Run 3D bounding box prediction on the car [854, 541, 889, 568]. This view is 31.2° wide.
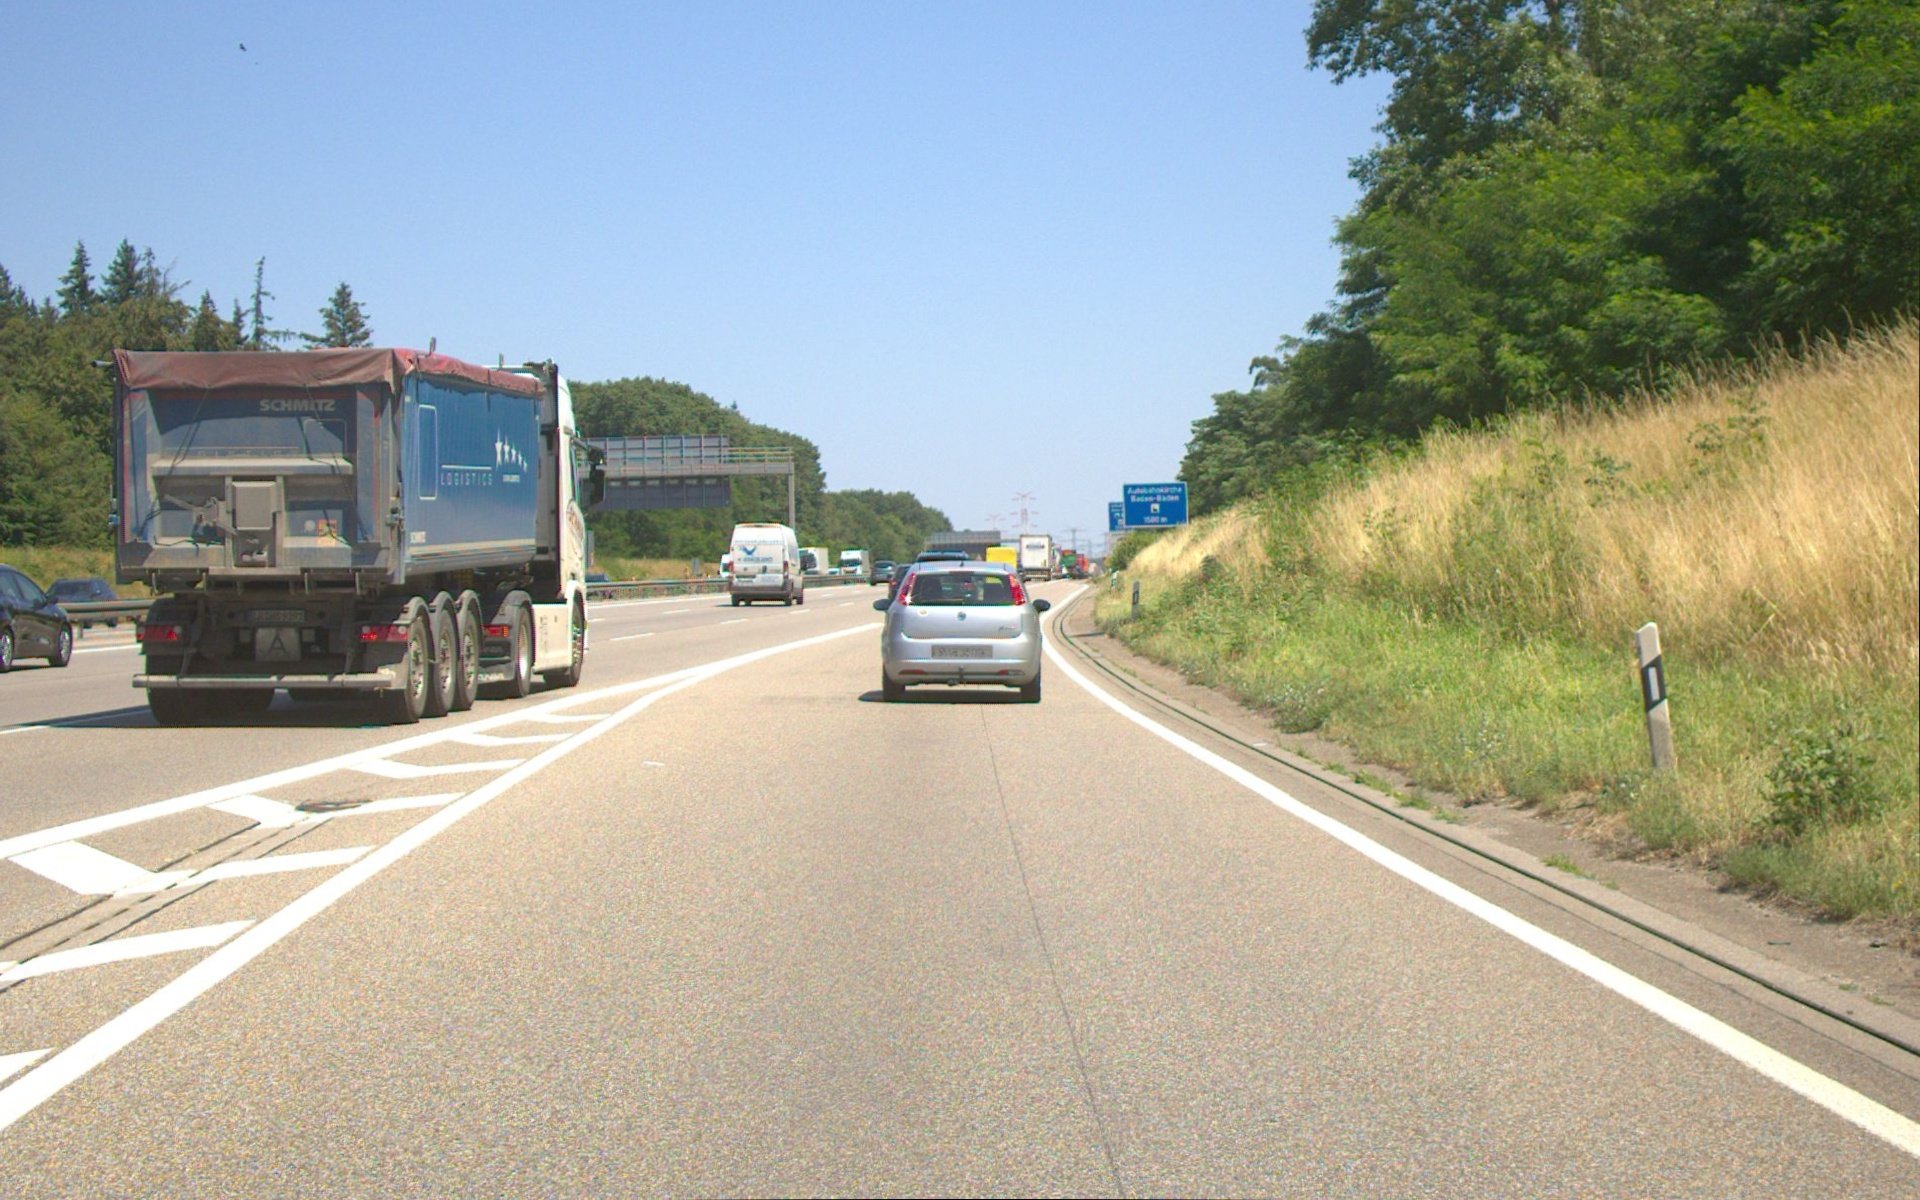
[{"bbox_3d":[-5.981,-3.081,232.047,2.157,1.808,4.860,0,1,1],"label":"car"}]

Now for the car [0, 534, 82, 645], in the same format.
[{"bbox_3d":[-13.539,-0.156,46.997,1.703,1.469,4.596,-1,1,3],"label":"car"}]

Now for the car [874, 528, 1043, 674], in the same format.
[{"bbox_3d":[0.006,-0.030,36.848,1.719,1.486,3.737,0,1,1],"label":"car"}]

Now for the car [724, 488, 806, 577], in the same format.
[{"bbox_3d":[-6.634,-2.289,117.548,2.260,2.940,6.113,0,1,2],"label":"car"}]

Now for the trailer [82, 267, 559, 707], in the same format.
[{"bbox_3d":[-6.022,-1.045,34.070,2.737,3.746,9.109,-1,1,2],"label":"trailer"}]

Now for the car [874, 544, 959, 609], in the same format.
[{"bbox_3d":[-1.124,-0.617,90.806,1.832,1.666,3.999,1,0,5],"label":"car"}]

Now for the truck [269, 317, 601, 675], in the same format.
[{"bbox_3d":[-5.847,-1.148,39.225,2.684,3.746,5.944,-1,1,2],"label":"truck"}]

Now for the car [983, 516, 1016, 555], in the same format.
[{"bbox_3d":[2.051,-3.331,178.775,1.611,2.007,4.000,0,1,2],"label":"car"}]

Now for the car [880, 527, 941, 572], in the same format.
[{"bbox_3d":[-1.625,-1.680,114.355,1.894,1.464,4.261,0,1,1],"label":"car"}]
